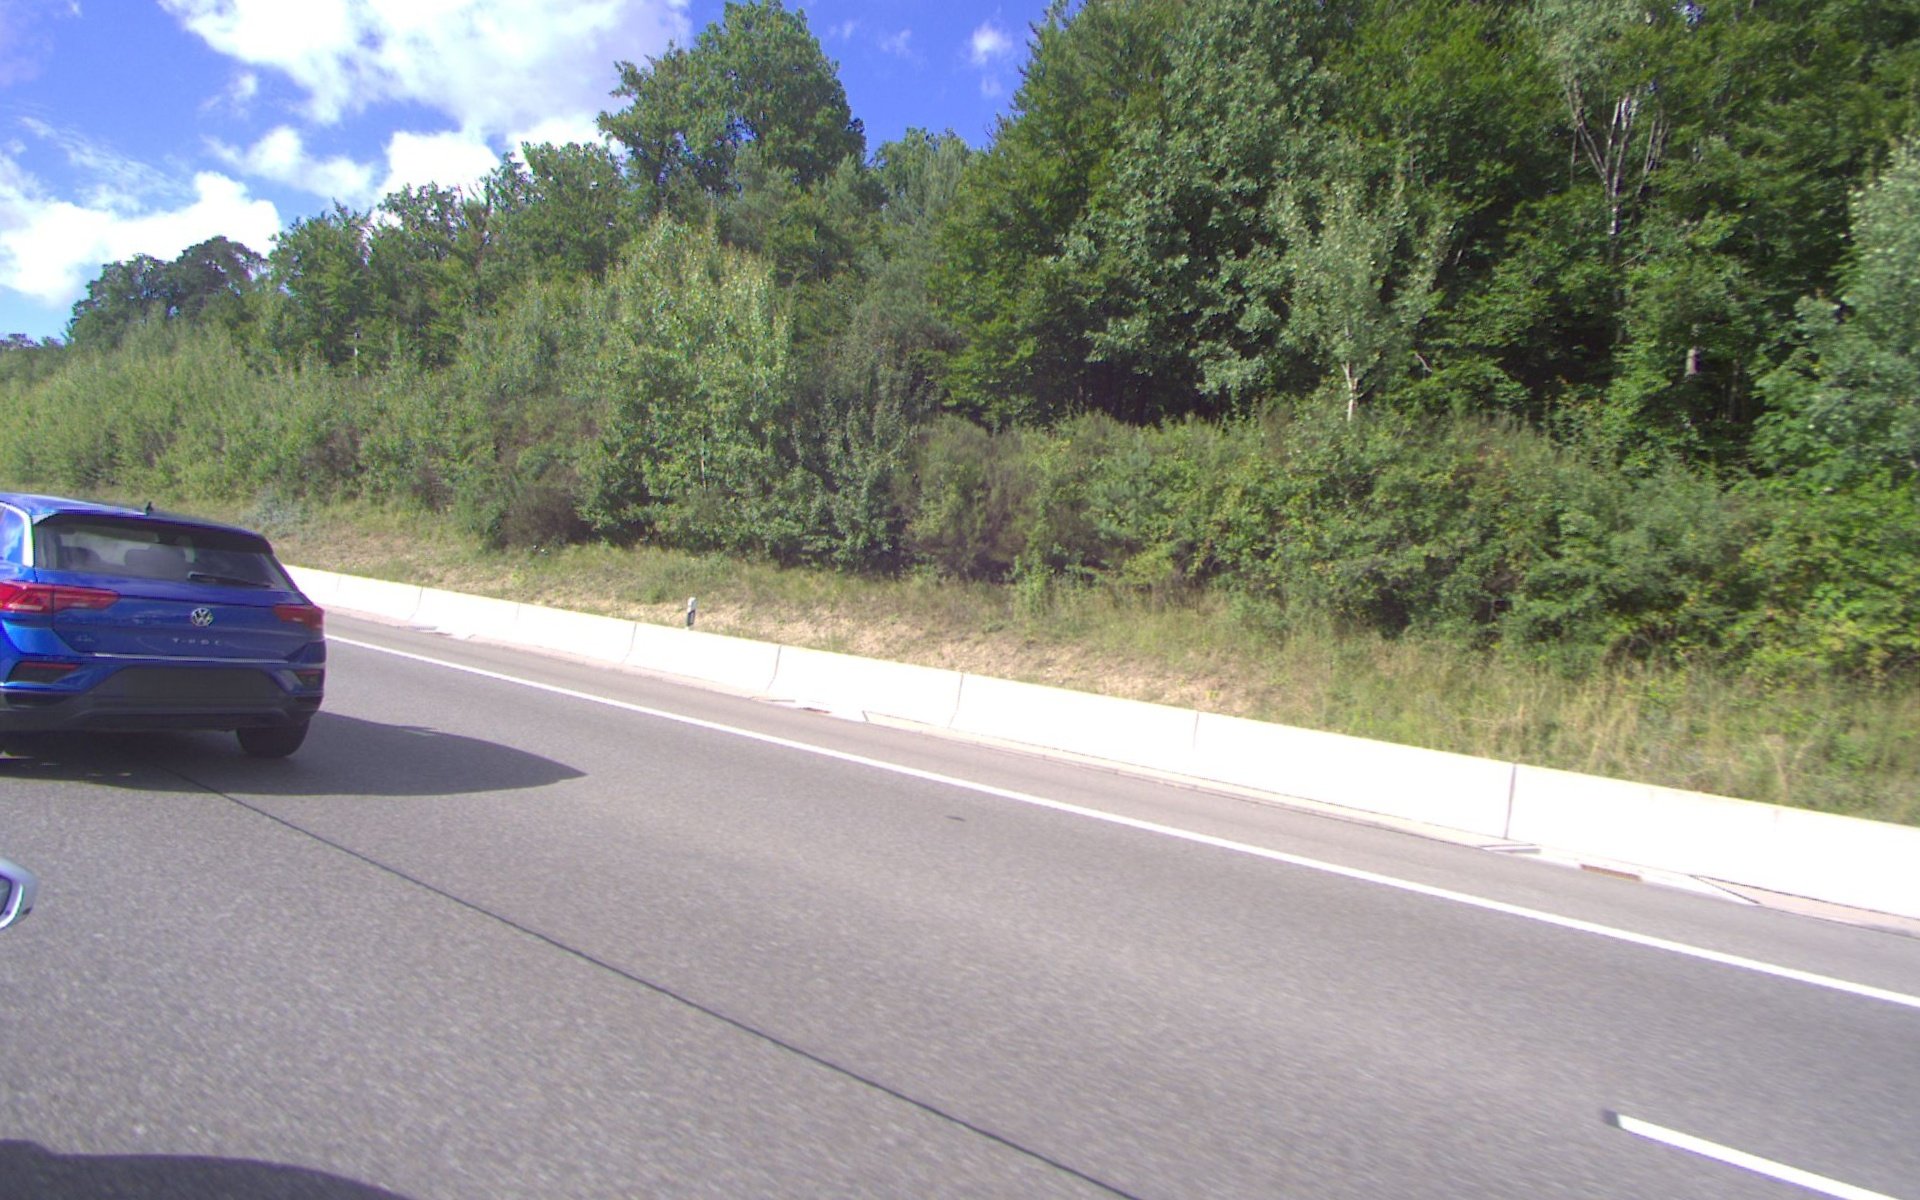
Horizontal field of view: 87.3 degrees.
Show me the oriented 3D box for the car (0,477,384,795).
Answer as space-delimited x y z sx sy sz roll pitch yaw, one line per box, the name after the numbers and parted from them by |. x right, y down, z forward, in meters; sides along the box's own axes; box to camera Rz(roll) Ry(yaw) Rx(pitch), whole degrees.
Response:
-6.079 0.049 6.786 4.383 1.548 1.776 7 -1 31 | car
